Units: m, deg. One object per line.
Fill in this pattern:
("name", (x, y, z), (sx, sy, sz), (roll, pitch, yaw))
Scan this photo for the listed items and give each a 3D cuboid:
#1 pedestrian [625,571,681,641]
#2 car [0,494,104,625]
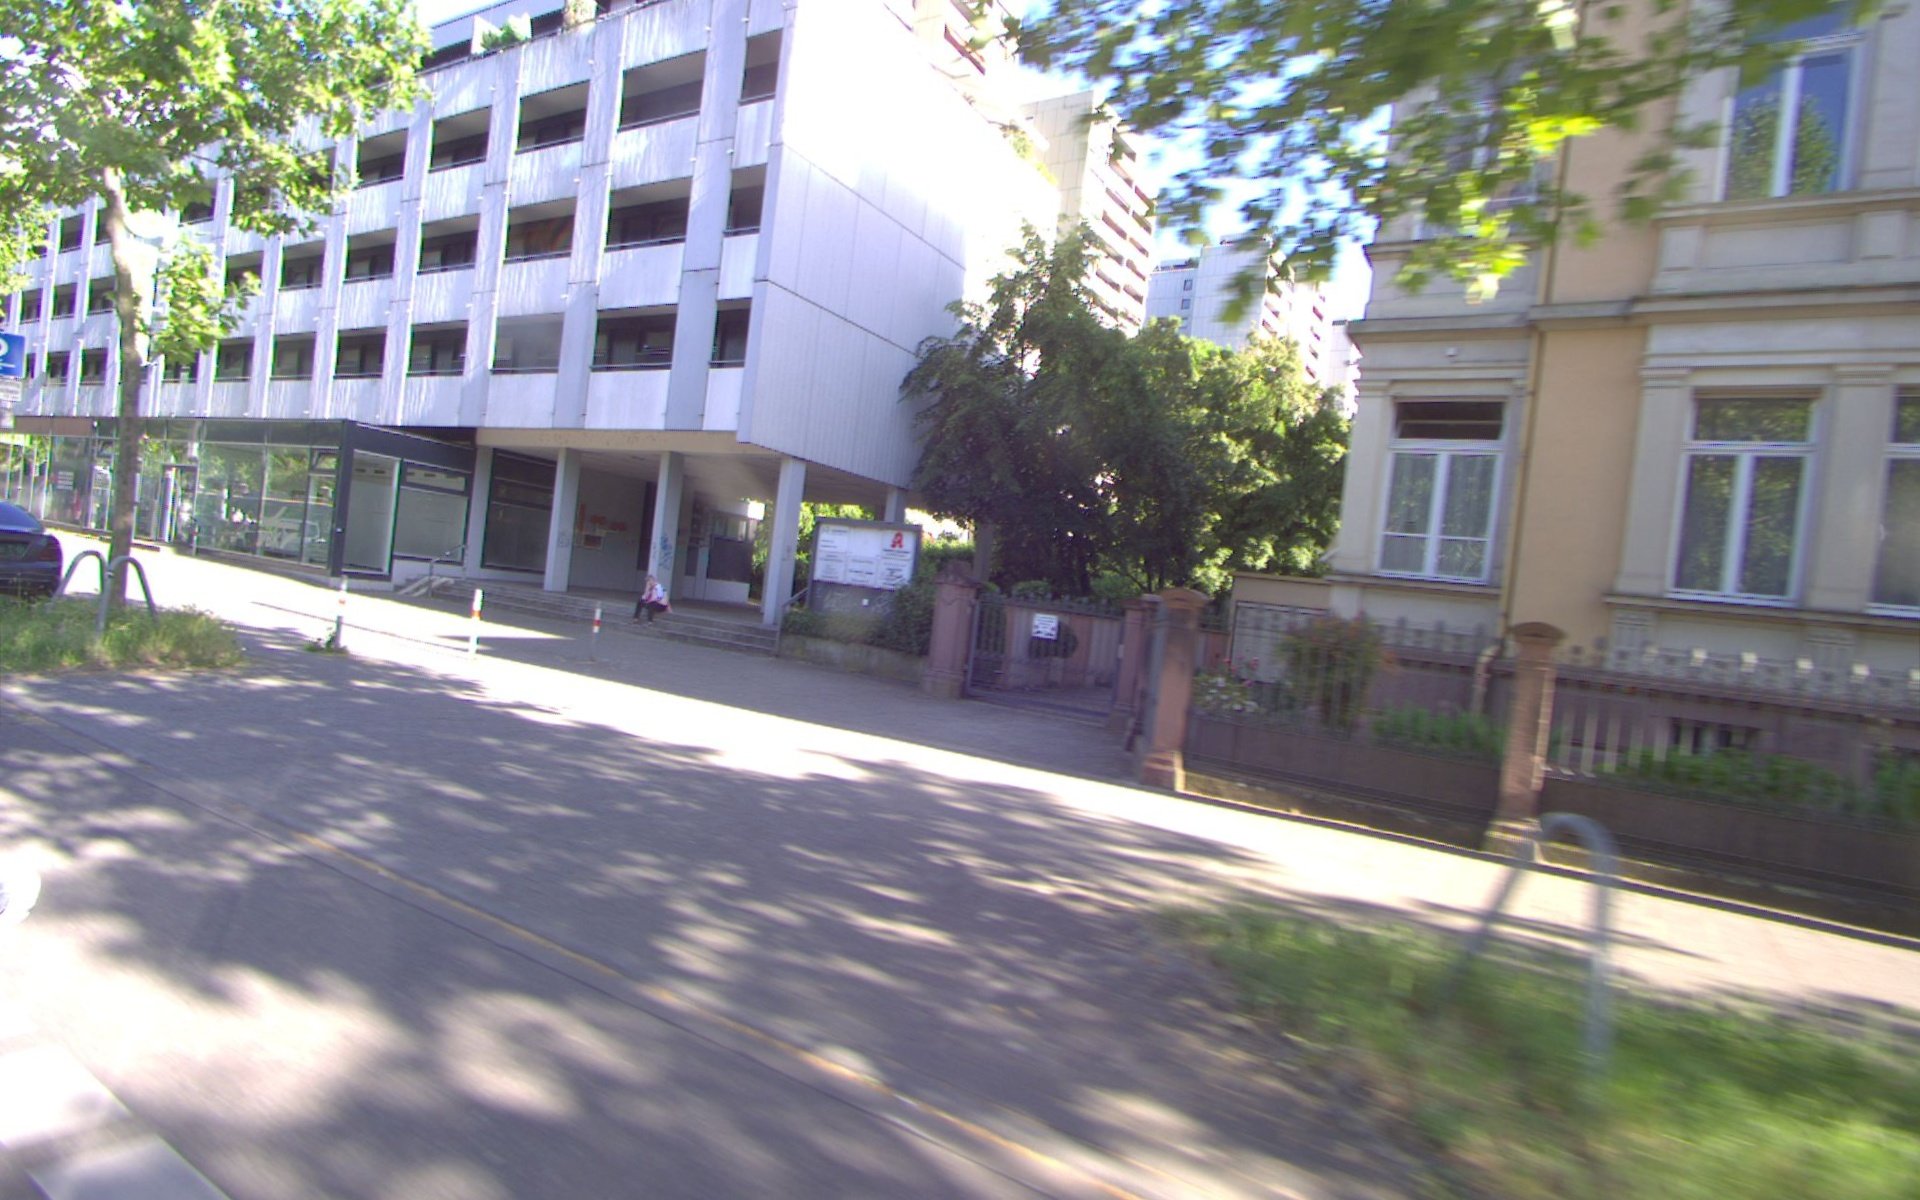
("pedestrian", (-6.688, 0.131, 21.923), (0.732, 1.373, 0.718), (7, -1, 39))
("car", (-13.788, -0.737, 13.597), (4.522, 1.526, 1.997), (6, -3, 32))
